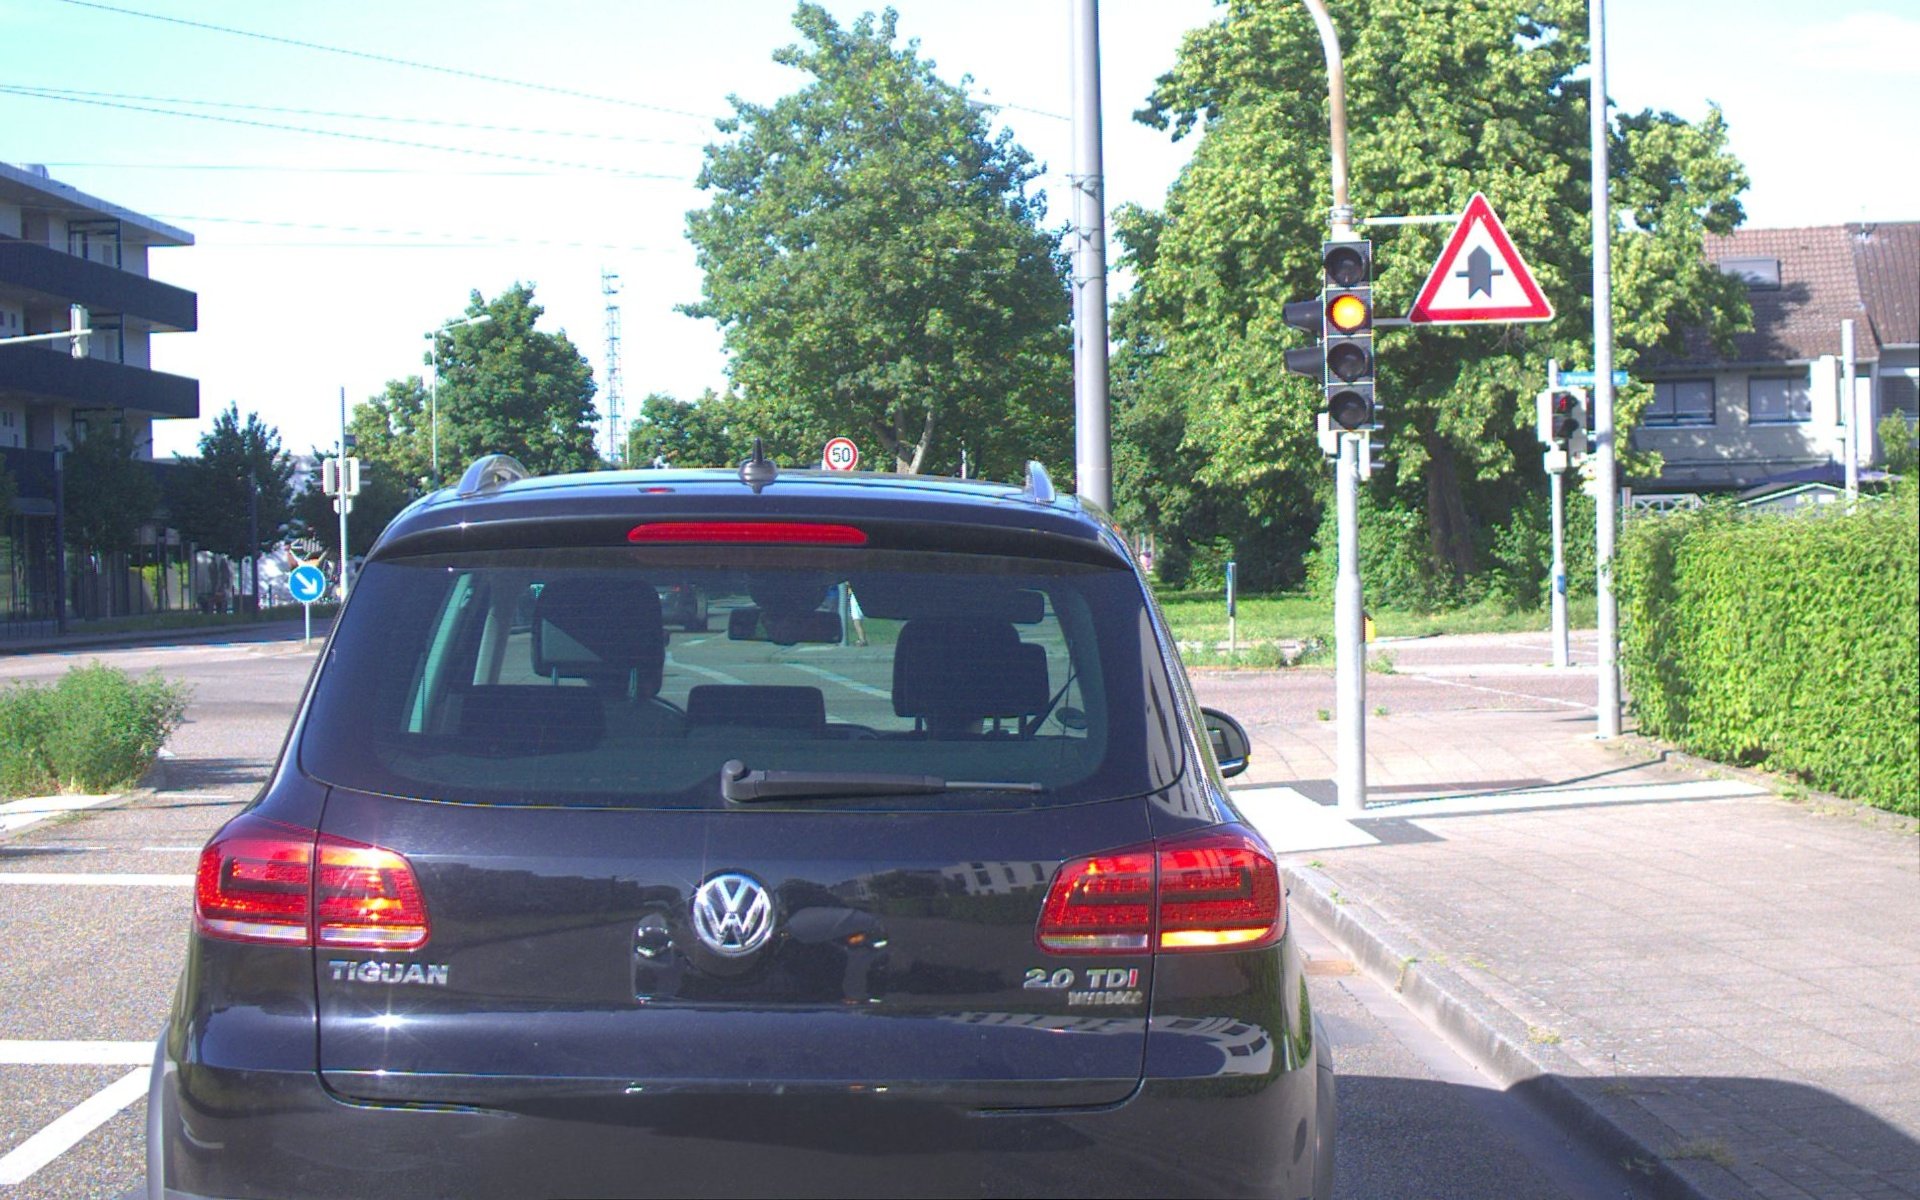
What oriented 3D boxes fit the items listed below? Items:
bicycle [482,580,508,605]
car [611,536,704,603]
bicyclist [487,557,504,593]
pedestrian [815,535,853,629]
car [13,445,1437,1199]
[{"bbox_3d":[-16.158,-0.267,119.551,0.496,0.845,2.078,0,1,3],"label":"bicycle"},{"bbox_3d":[-6.418,-0.672,73.326,1.751,1.382,4.000,0,1,-2],"label":"car"},{"bbox_3d":[-16.157,-0.870,119.597,0.474,1.219,0.712,0,1,3],"label":"bicyclist"},{"bbox_3d":[-2.189,-0.314,59.815,0.603,1.634,0.529,0,1,4],"label":"pedestrian"},{"bbox_3d":[-0.379,0.579,6.622,1.905,1.637,4.000,0,1,-2],"label":"car"}]
